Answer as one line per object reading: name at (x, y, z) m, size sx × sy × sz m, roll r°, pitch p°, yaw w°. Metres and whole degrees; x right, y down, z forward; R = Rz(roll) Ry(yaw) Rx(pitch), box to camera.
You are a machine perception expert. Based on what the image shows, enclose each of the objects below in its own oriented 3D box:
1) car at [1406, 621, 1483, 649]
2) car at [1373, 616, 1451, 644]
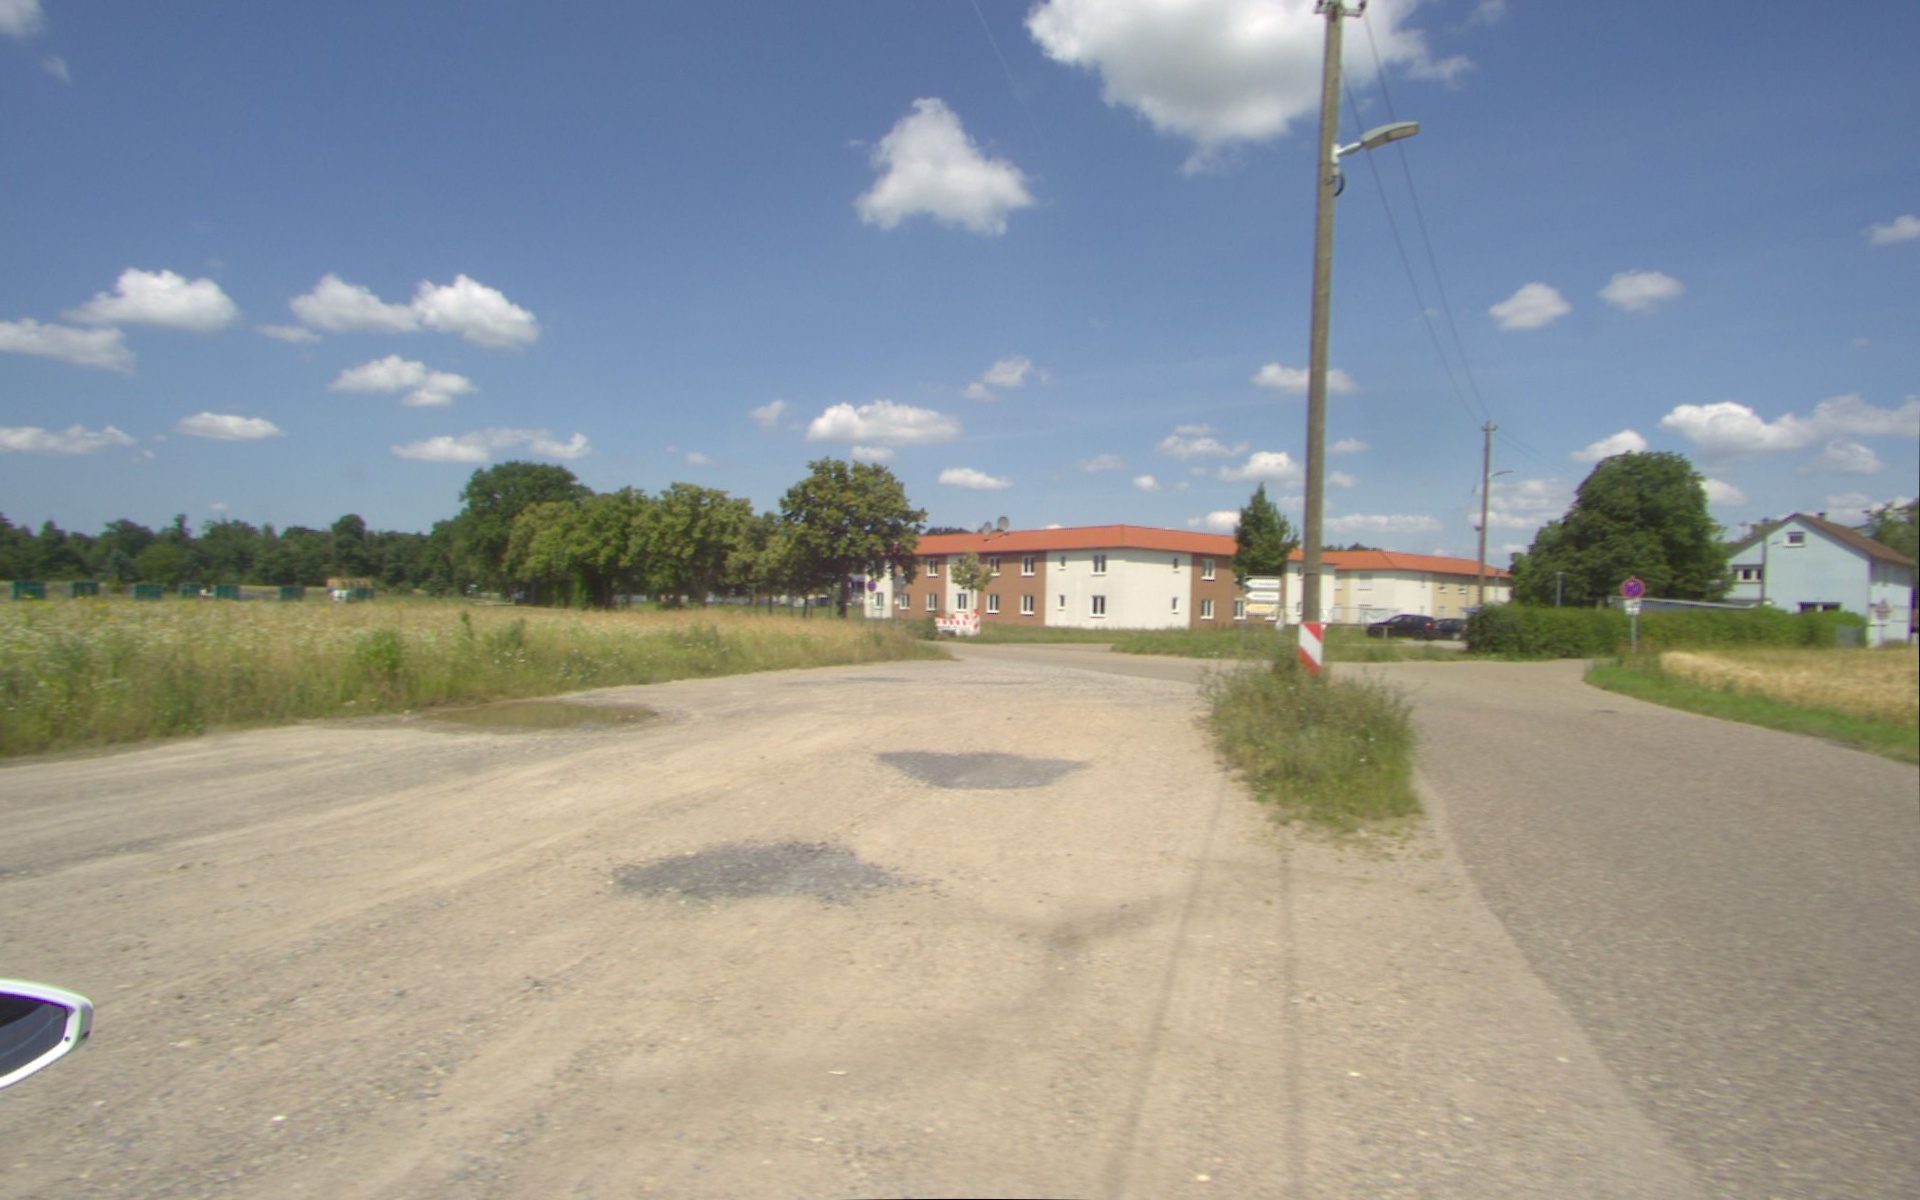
car at (32.278, 2.332, 66.799) m, size 1.978 × 1.636 × 4.114 m, roll 2°, pitch 0°, yaw -39°
car at (29.088, 1.927, 64.576) m, size 1.978 × 1.636 × 4.114 m, roll 2°, pitch 0°, yaw -39°
